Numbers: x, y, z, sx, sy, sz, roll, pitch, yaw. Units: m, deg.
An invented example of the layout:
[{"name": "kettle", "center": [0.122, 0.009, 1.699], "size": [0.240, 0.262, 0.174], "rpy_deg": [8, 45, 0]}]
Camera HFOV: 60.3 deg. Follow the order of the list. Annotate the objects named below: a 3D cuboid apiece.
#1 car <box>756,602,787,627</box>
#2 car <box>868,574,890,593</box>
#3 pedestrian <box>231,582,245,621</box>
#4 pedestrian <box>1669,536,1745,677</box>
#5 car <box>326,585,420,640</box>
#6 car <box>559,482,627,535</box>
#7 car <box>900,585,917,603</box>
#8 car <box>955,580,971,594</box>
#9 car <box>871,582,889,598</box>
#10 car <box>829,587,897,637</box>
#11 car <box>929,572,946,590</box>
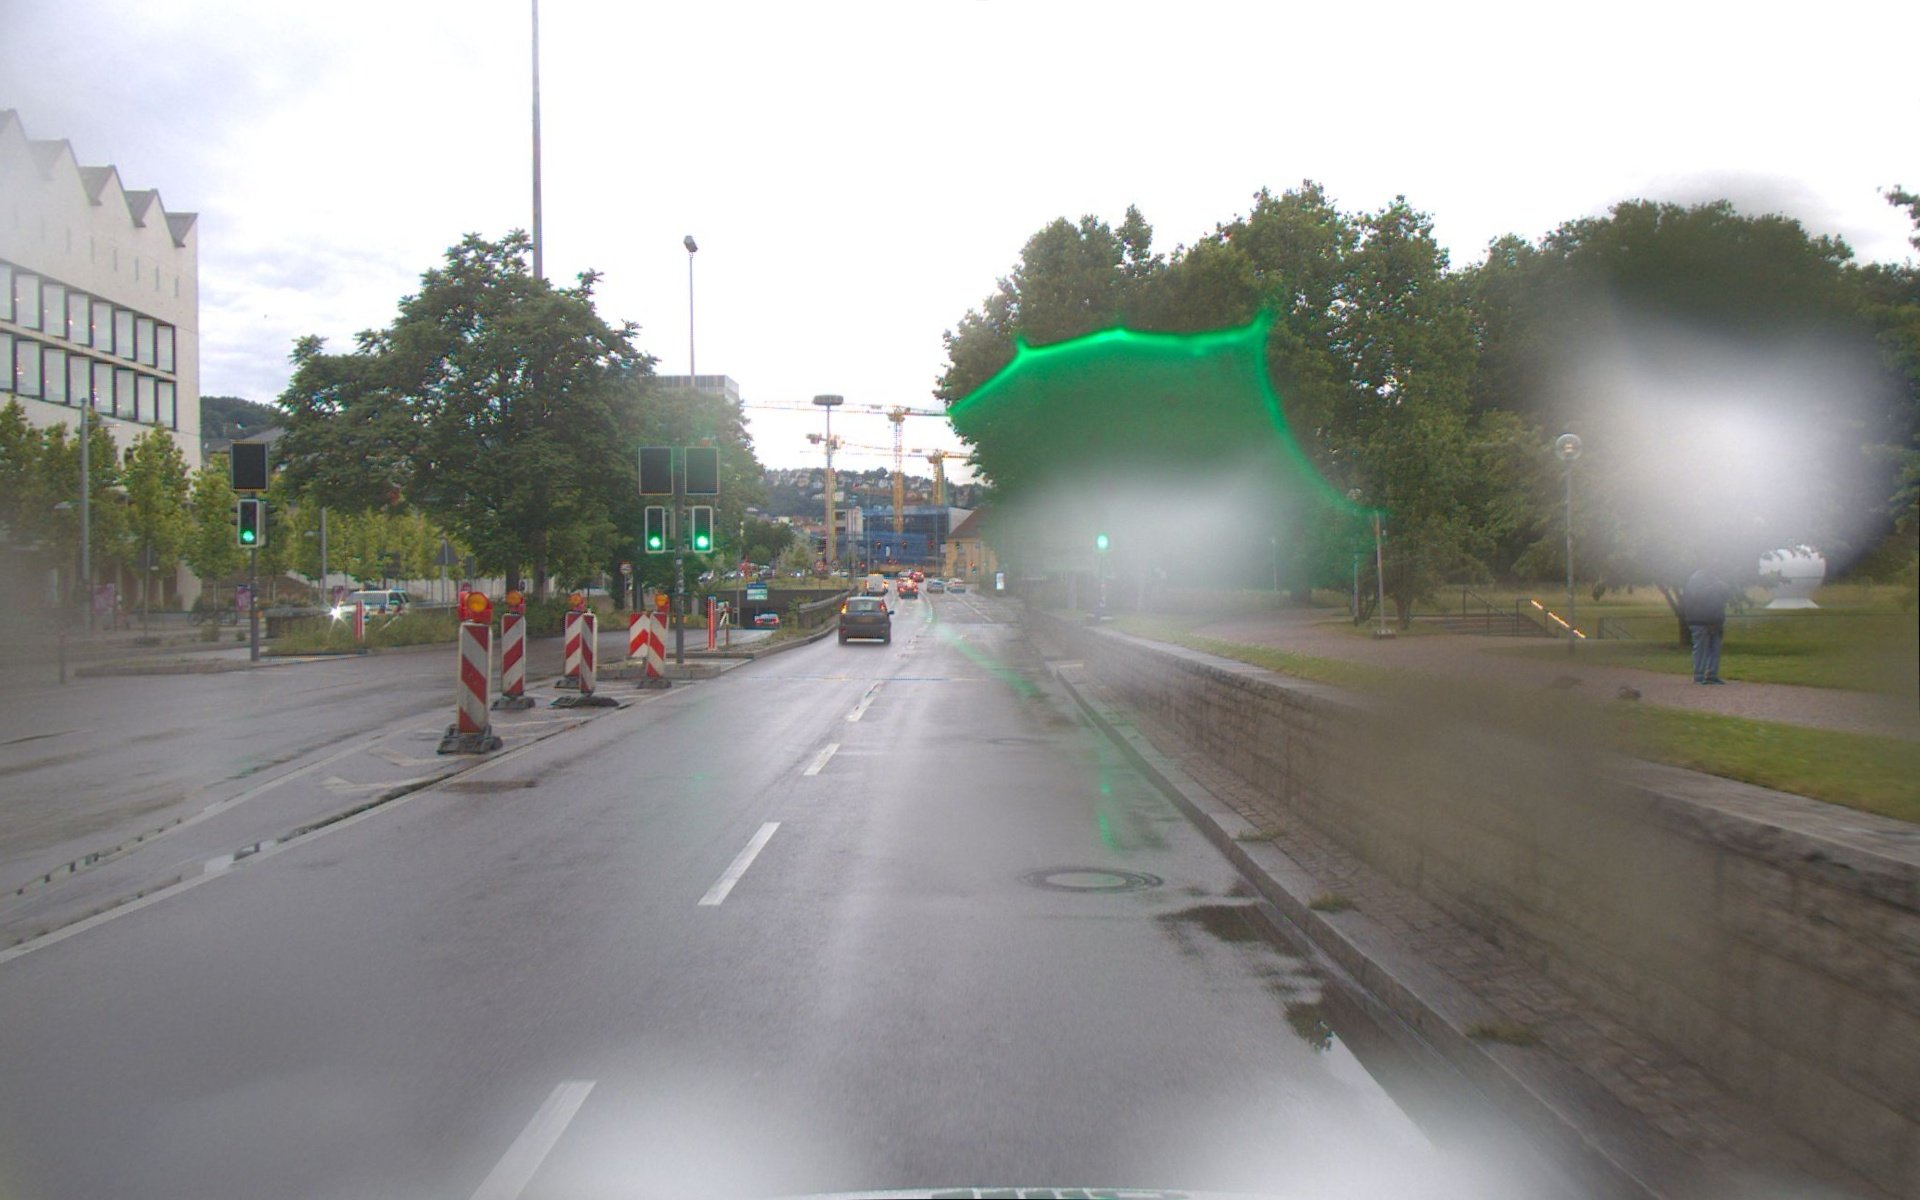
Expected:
[{"name": "car", "center": [-14.172, 1.083, 124.498], "size": [1.953, 1.812, 3.999], "rpy_deg": [-1, 0, -1]}, {"name": "car", "center": [-9.007, -1.790, 184.774], "size": [2.174, 2.049, 4.000], "rpy_deg": [0, -1, 1]}, {"name": "pedestrian", "center": [-37.744, 0.084, 86.429], "size": [0.535, 2.049, 0.524], "rpy_deg": [-1, -1, -37]}, {"name": "pedestrian", "center": [9.755, 0.073, 21.608], "size": [0.583, 1.786, 0.725], "rpy_deg": [-2, 1, -5]}, {"name": "car", "center": [-21.487, 0.474, 60.699], "size": [1.954, 1.872, 4.888], "rpy_deg": [-2, -1, -4]}, {"name": "car", "center": [-13.095, -3.248, 59.241], "size": [1.956, 1.661, 3.994], "rpy_deg": [0, 0, -7]}, {"name": "car", "center": [-5.463, -0.658, 174.649], "size": [1.704, 1.802, 3.998], "rpy_deg": [-2, -1, -2]}, {"name": "car", "center": [0.343, -1.640, 208.552], "size": [1.953, 1.627, 4.000], "rpy_deg": [-2, -1, 1]}, {"name": "car", "center": [-9.783, -1.213, 201.842], "size": [1.953, 1.814, 4.000], "rpy_deg": [-2, -1, 1]}, {"name": "car", "center": [-3.110, 0.394, 52.391], "size": [1.809, 1.441, 3.832], "rpy_deg": [-2, -1, -8]}, {"name": "car", "center": [-2.793, -2.335, 201.849], "size": [1.947, 2.049, 3.999], "rpy_deg": [-2, -1, -1]}]
